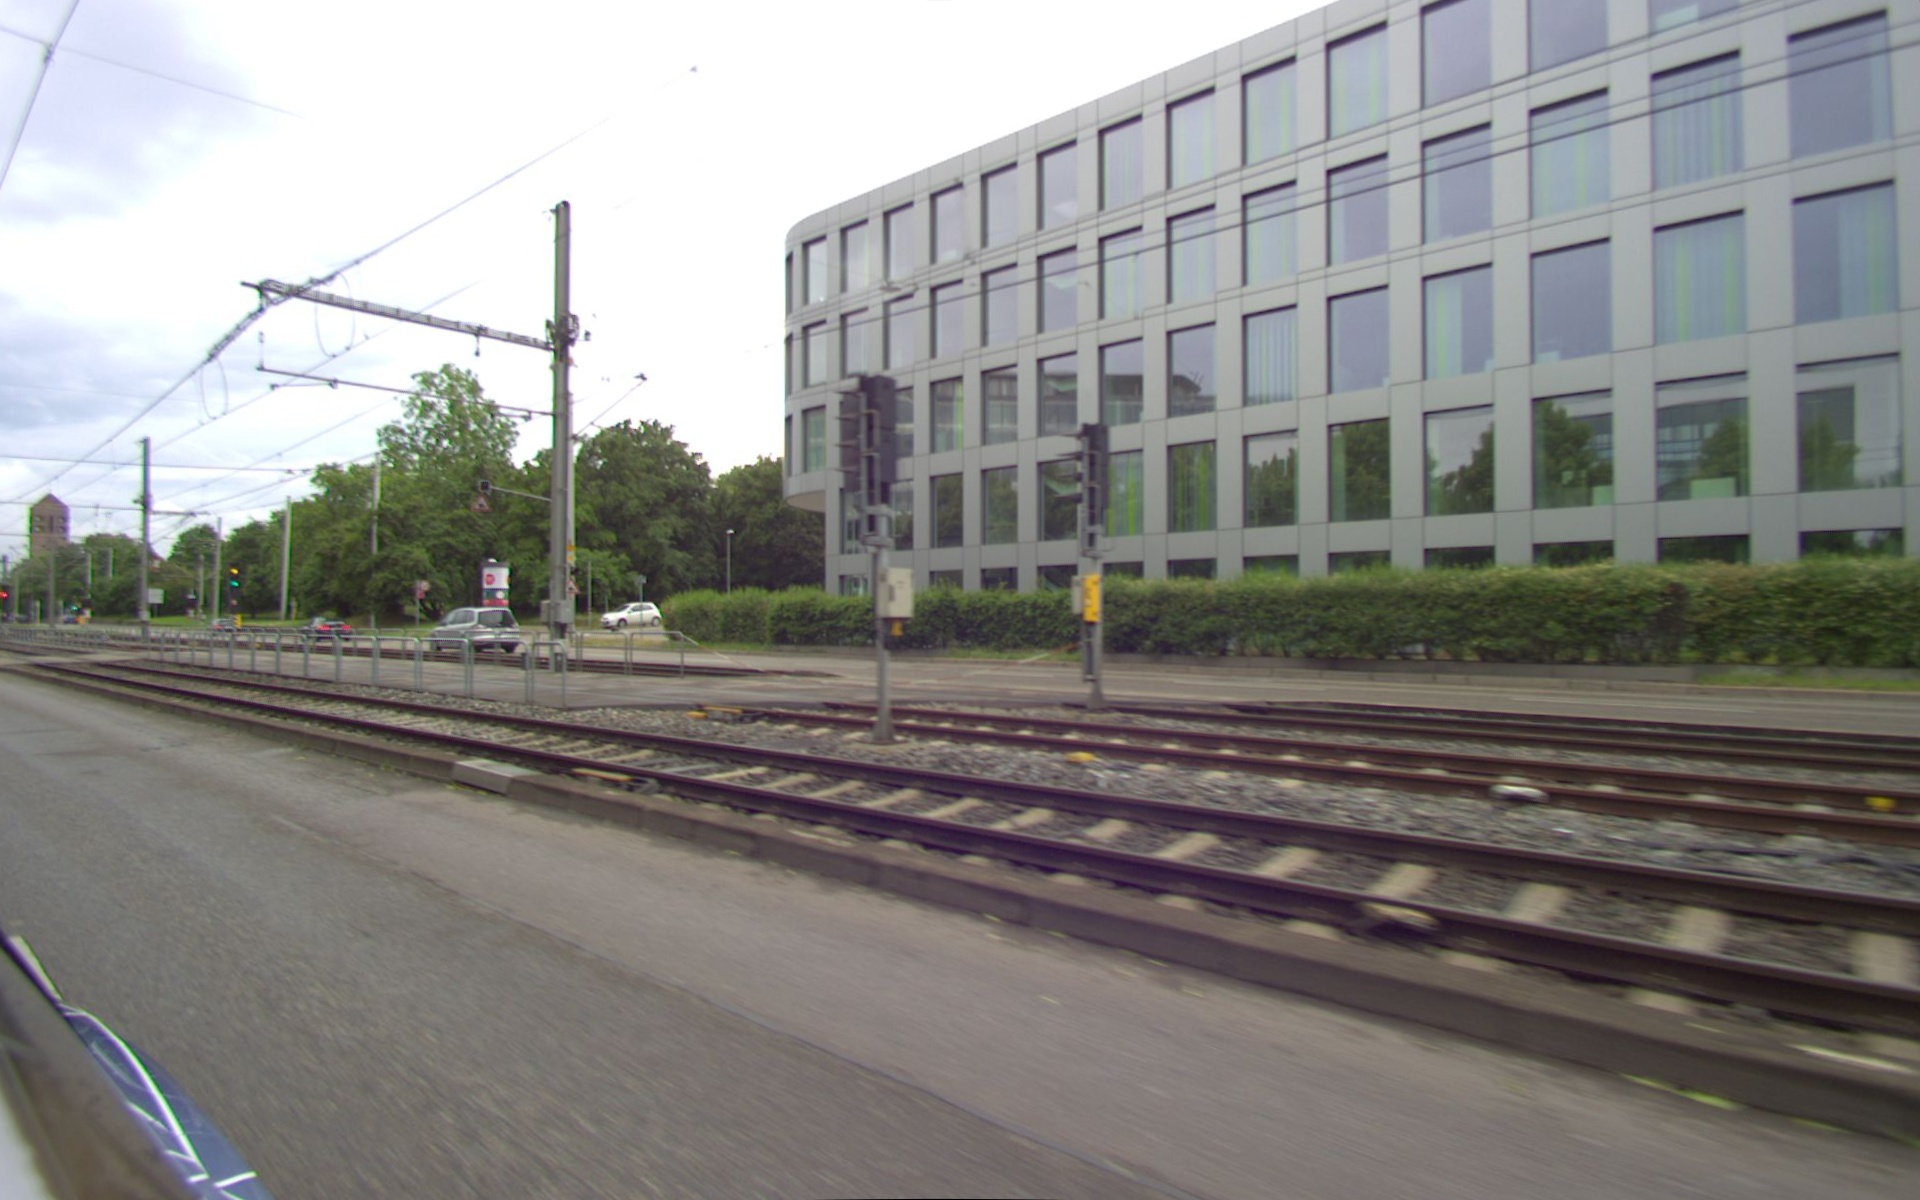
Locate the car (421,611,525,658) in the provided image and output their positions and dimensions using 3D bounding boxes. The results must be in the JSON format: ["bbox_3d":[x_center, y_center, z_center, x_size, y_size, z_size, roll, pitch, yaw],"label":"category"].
[{"bbox_3d":[-18.539,1.271,38.398,4.883,1.657,1.882,-1,-1,42],"label":"car"}]

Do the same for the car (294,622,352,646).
[{"bbox_3d":[-37.836,2.017,60.061,4.257,1.357,1.779,-1,-1,41],"label":"car"}]

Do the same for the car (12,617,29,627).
[{"bbox_3d":[-164.646,3.842,177.339,4.848,1.607,1.926,-1,-1,44],"label":"car"}]

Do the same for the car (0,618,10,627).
[{"bbox_3d":[-160.725,3.704,169.633,4.309,1.497,1.870,-1,-1,44],"label":"car"}]

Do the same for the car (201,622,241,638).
[{"bbox_3d":[-59.332,2.398,81.225,3.986,1.253,1.738,-1,-1,41],"label":"car"}]

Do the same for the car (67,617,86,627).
[{"bbox_3d":[-127.790,3.234,146.396,3.901,1.408,1.741,-1,-1,44],"label":"car"}]

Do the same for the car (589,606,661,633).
[{"bbox_3d":[-20.977,1.221,63.470,1.923,1.464,3.882,-1,2,38],"label":"car"}]
